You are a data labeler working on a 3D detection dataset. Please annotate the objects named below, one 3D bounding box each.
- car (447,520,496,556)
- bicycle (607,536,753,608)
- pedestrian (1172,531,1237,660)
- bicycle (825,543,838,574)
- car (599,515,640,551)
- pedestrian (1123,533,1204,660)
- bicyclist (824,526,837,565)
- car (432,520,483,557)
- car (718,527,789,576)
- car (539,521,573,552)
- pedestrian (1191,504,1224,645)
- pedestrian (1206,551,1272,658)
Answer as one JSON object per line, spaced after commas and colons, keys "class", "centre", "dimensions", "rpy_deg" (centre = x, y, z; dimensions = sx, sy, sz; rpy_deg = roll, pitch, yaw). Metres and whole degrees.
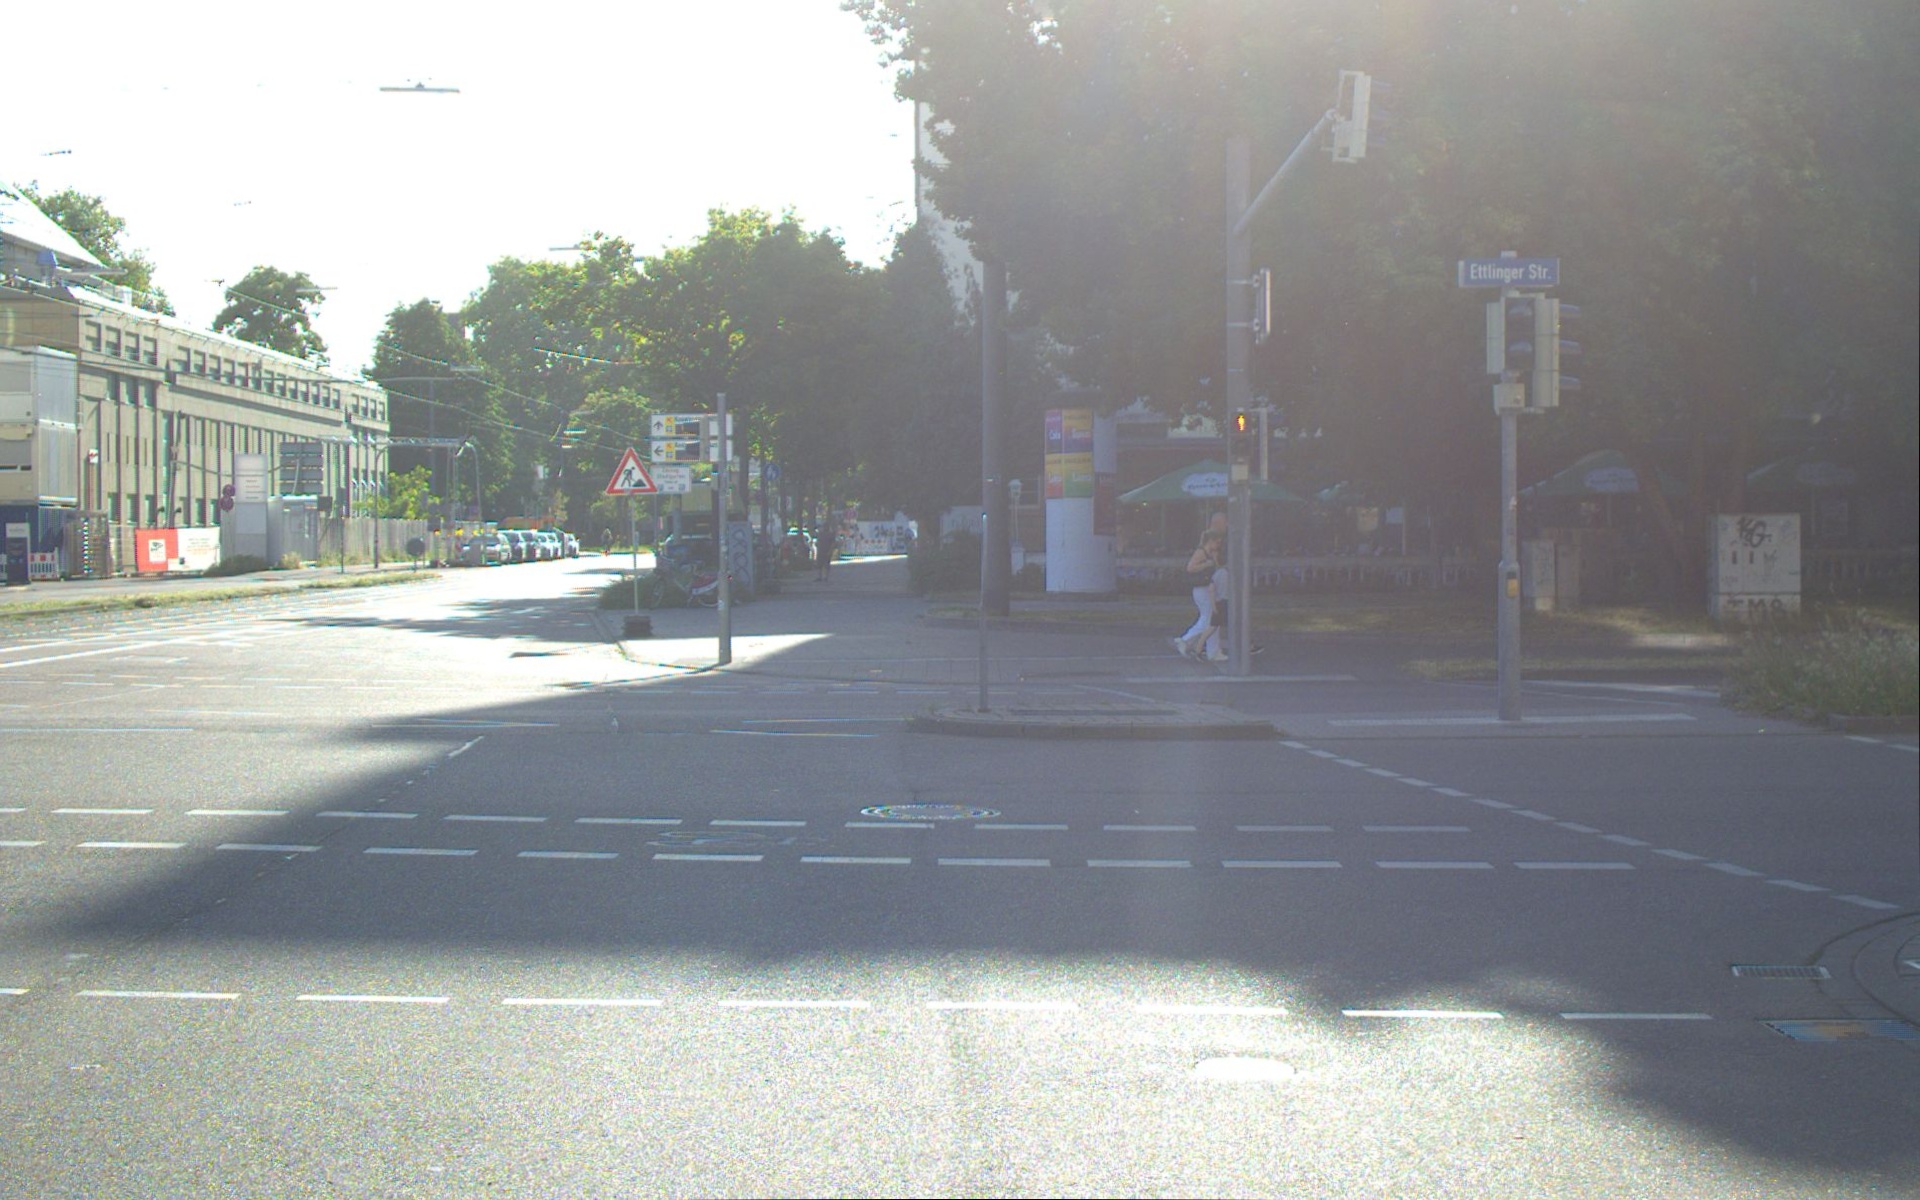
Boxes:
{"class": "car", "centre": [-22.748, -2.906, 160.077], "dimensions": [1.731, 1.647, 4.000], "rpy_deg": [0, 1, -1]}
{"class": "bicycle", "centre": [-5.466, -0.557, 67.131], "dimensions": [2.748, 1.363, 0.630], "rpy_deg": [1, 0, 11]}
{"class": "pedestrian", "centre": [3.107, -0.063, 43.793], "dimensions": [0.795, 1.634, 0.533], "rpy_deg": [0, 1, 2]}
{"class": "bicycle", "centre": [-3.689, -1.195, 98.531], "dimensions": [0.324, 0.865, 1.483], "rpy_deg": [0, 1, -1]}
{"class": "car", "centre": [-19.751, -3.871, 199.311], "dimensions": [1.993, 2.007, 4.000], "rpy_deg": [1, 1, -1]}
{"class": "pedestrian", "centre": [2.549, -0.048, 43.146], "dimensions": [0.984, 1.582, 0.660], "rpy_deg": [0, 0, 1]}
{"class": "bicyclist", "centre": [-3.709, -1.561, 98.368], "dimensions": [0.318, 1.124, 0.291], "rpy_deg": [0, 1, 5]}
{"class": "car", "centre": [-22.785, -2.791, 155.977], "dimensions": [1.731, 1.647, 4.000], "rpy_deg": [0, 1, -1]}
{"class": "car", "centre": [-5.535, -1.301, 92.396], "dimensions": [1.819, 1.274, 4.001], "rpy_deg": [0, 1, -3]}
{"class": "car", "centre": [-22.818, -3.595, 194.319], "dimensions": [1.483, 1.744, 4.000], "rpy_deg": [-1, 1, -1]}
{"class": "pedestrian", "centre": [3.189, -0.329, 44.297], "dimensions": [0.361, 1.798, 0.506], "rpy_deg": [0, 1, 11]}
{"class": "pedestrian", "centre": [3.498, 0.049, 43.116], "dimensions": [0.752, 1.328, 0.742], "rpy_deg": [-1, 1, -1]}
